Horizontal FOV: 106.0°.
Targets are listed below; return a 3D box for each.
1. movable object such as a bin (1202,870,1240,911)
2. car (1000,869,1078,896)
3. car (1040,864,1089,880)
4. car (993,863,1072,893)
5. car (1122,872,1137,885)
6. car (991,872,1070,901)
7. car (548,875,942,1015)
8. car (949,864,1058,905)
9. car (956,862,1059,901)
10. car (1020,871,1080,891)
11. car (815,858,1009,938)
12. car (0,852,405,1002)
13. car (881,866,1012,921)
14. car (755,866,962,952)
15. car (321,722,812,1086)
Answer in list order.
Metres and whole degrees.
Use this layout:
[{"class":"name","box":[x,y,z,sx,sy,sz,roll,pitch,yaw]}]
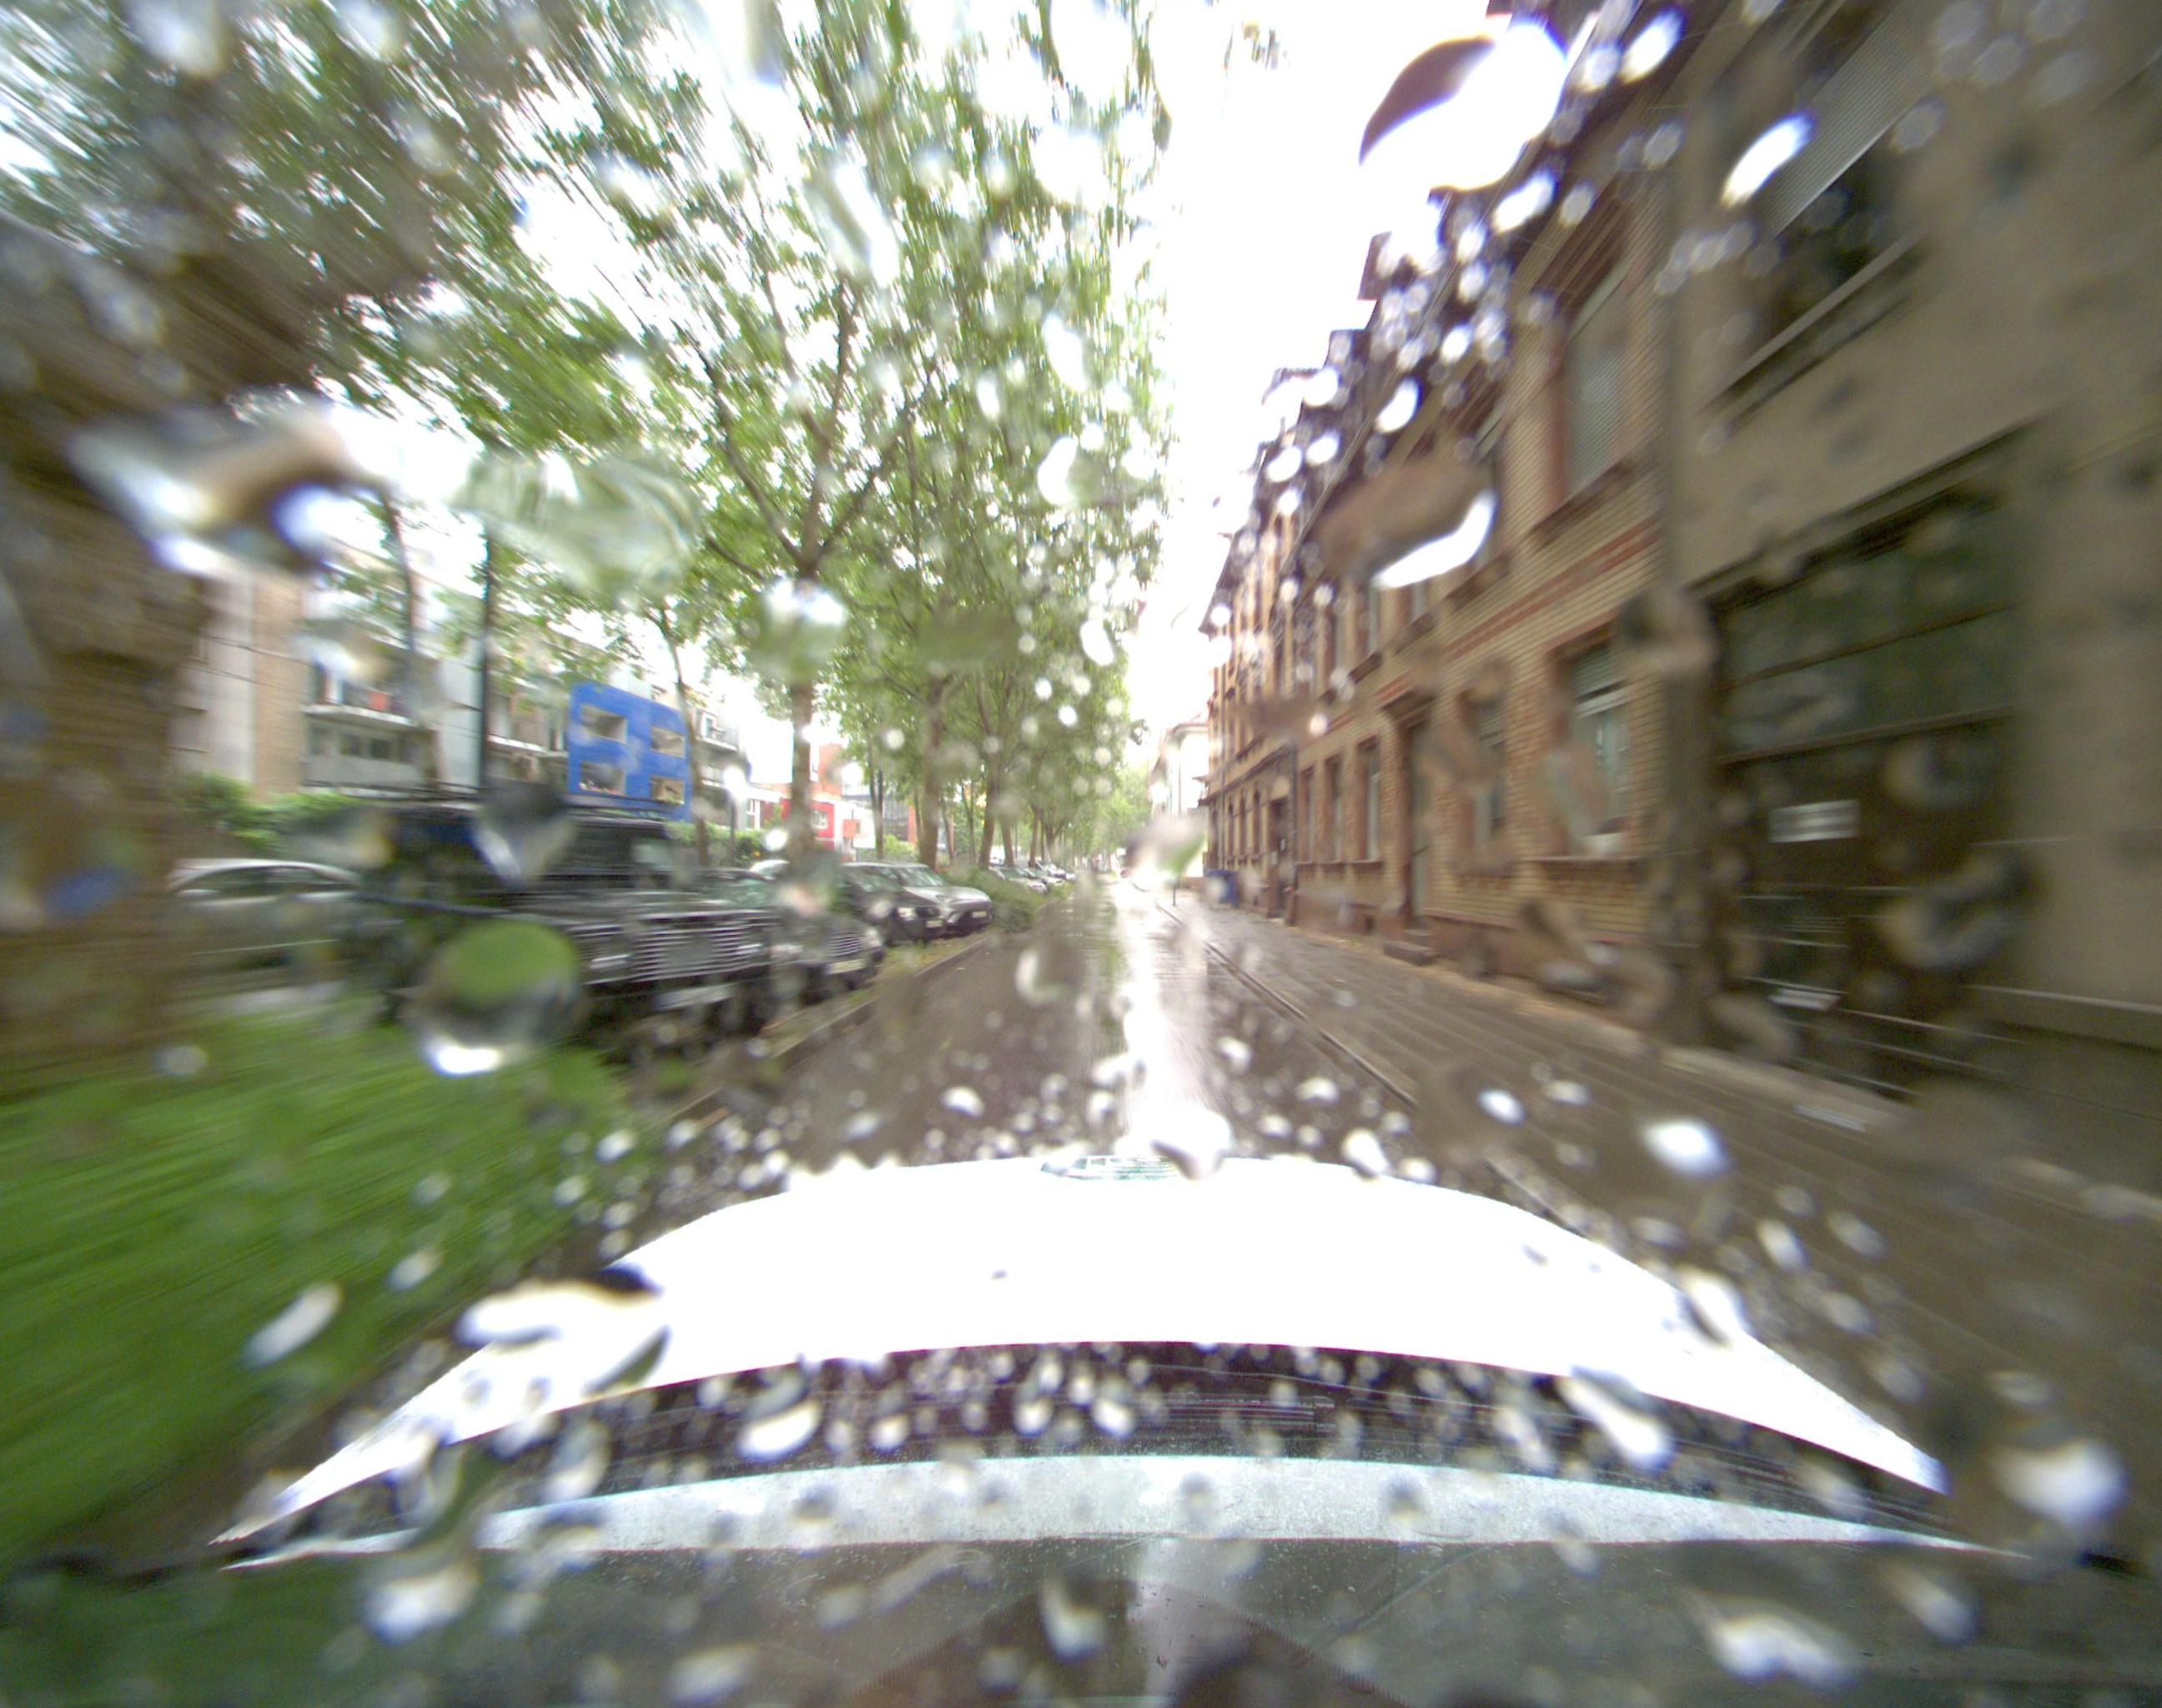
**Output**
[{"class":"movable object such as a bin","box":[4.689,1.201,27.355,1.017,1.302,1.367,-3,-1,1]},{"class":"car","box":[-2.492,1.652,48.266,4.262,1.437,1.758,1,-1,28]},{"class":"car","box":[-1.667,1.794,81.088,4.416,1.597,1.934,0,-2,28]},{"class":"car","box":[-3.337,1.636,55.597,5.065,1.978,2.116,-2,-2,32]},{"class":"car","box":[6.635,3.387,111.868,1.986,1.640,4.001,2,-2,2]},{"class":"car","box":[-2.824,1.785,45.402,4.019,1.499,1.757,1,-1,25]},{"class":"car","box":[-4.084,0.924,9.737,4.601,1.326,1.858,-1,-2,29]},{"class":"car","box":[-3.339,1.309,34.755,4.361,1.646,1.883,-2,-3,33]},{"class":"car","box":[-3.378,1.239,37.430,4.362,1.660,1.941,-1,-2,29]},{"class":"car","box":[-2.434,2.121,63.896,4.502,1.482,1.786,-2,-2,32]},{"class":"car","box":[-3.808,0.915,18.187,4.013,1.537,1.846,1,-1,32]},{"class":"car","box":[-11.692,0.796,10.653,1.898,1.534,4.420,1,-1,1]},{"class":"car","box":[-4.072,1.156,24.624,3.607,1.479,1.754,1,-1,32]},{"class":"car","box":[-4.207,0.977,15.432,3.469,1.468,1.651,0,-2,23]},{"class":"car","box":[-4.723,0.360,7.261,4.600,2.283,2.024,-1,-2,35]}]
